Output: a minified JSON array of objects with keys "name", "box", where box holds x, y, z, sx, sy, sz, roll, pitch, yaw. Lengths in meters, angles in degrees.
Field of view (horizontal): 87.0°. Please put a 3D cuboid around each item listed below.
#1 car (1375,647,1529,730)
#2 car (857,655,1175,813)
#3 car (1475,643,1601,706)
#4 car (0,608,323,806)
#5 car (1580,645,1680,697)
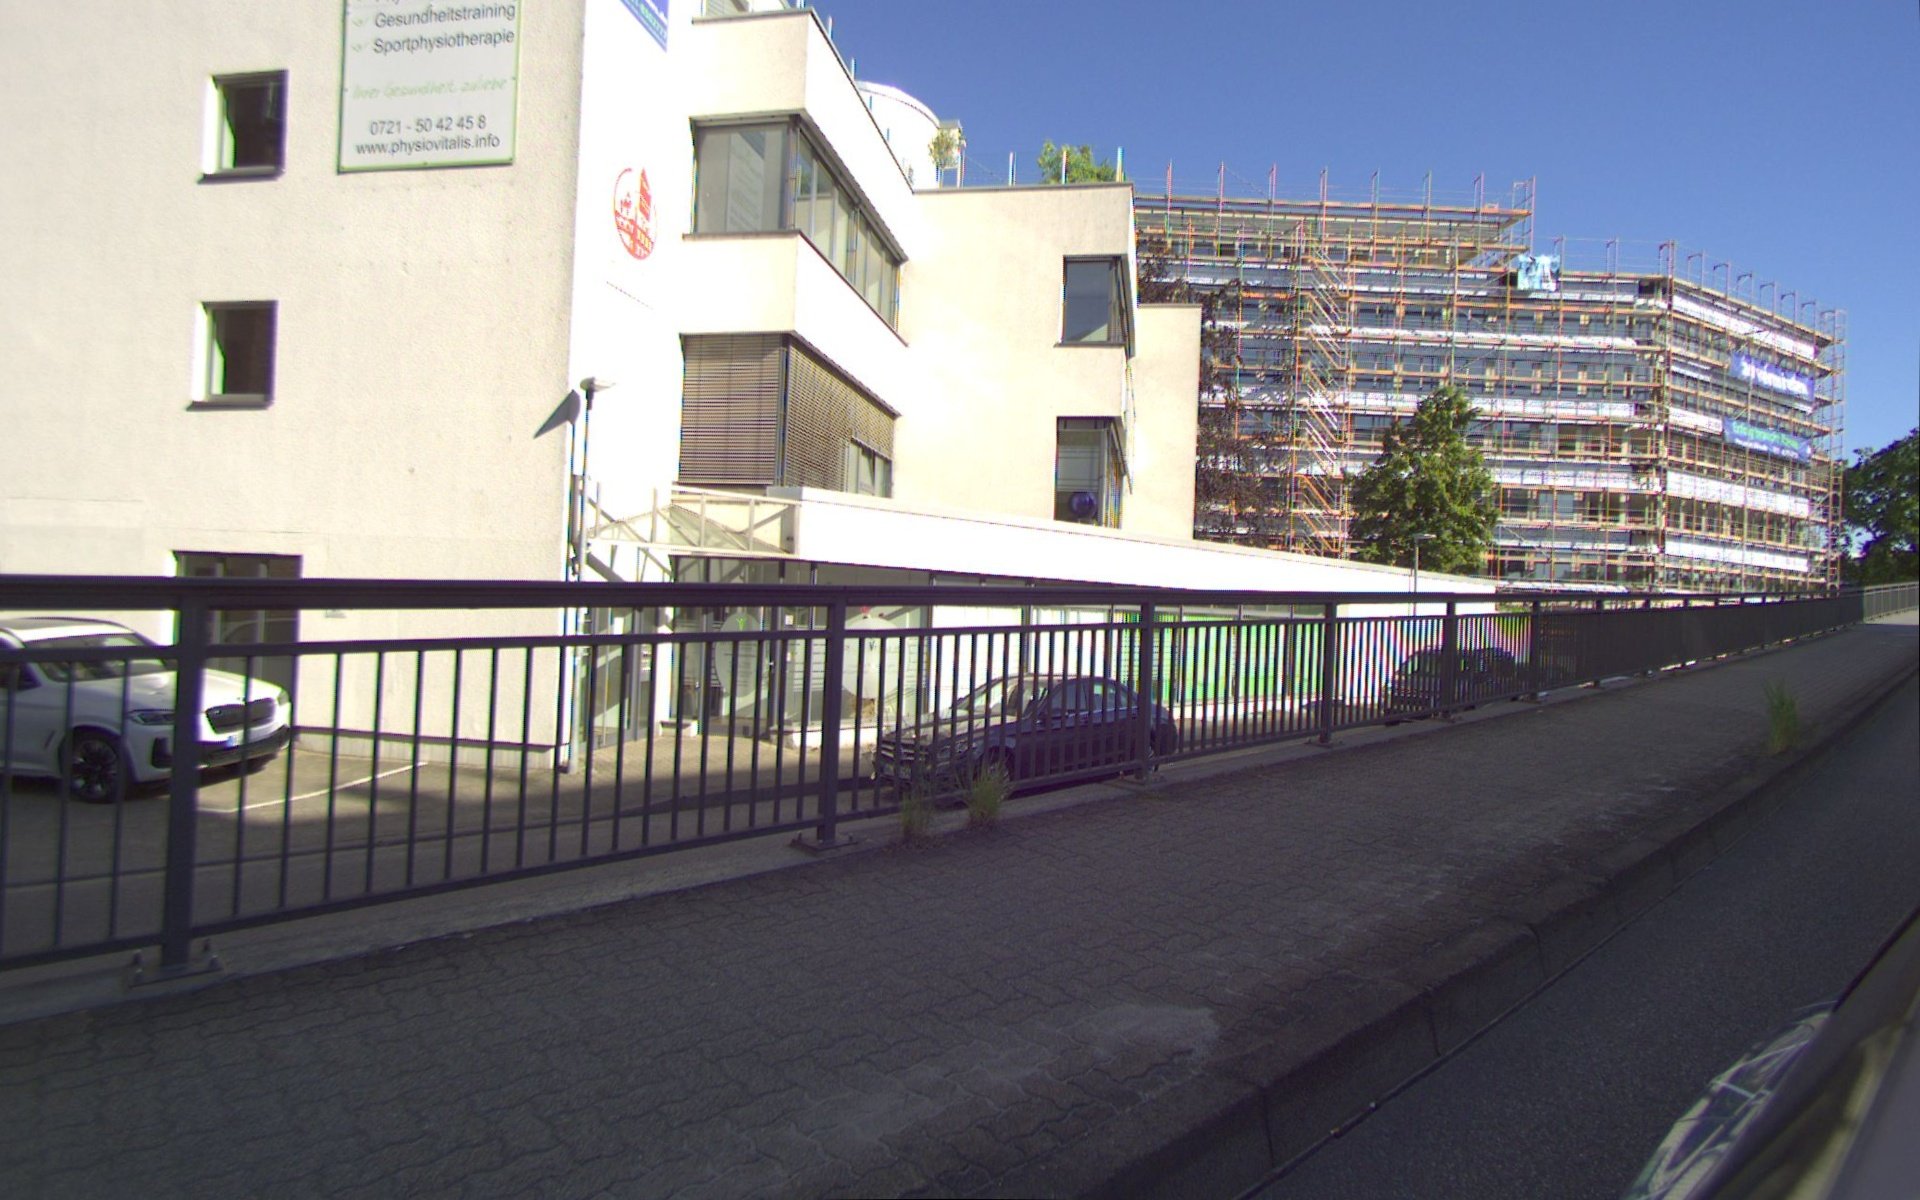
[{"name":"car","box":[10.860,1.859,22.226,3.931,1.541,1.723,1,-1,-42]},{"name":"car","box":[0.811,1.545,12.805,3.929,1.541,1.724,1,-1,-41]},{"name":"car","box":[14.982,1.866,26.156,3.931,1.410,1.723,1,-1,-42]},{"name":"car","box":[-9.533,1.021,10.837,4.455,1.707,1.840,2,0,9]},{"name":"car","box":[21.088,2.172,31.797,3.931,1.410,1.723,1,-1,-42]}]
